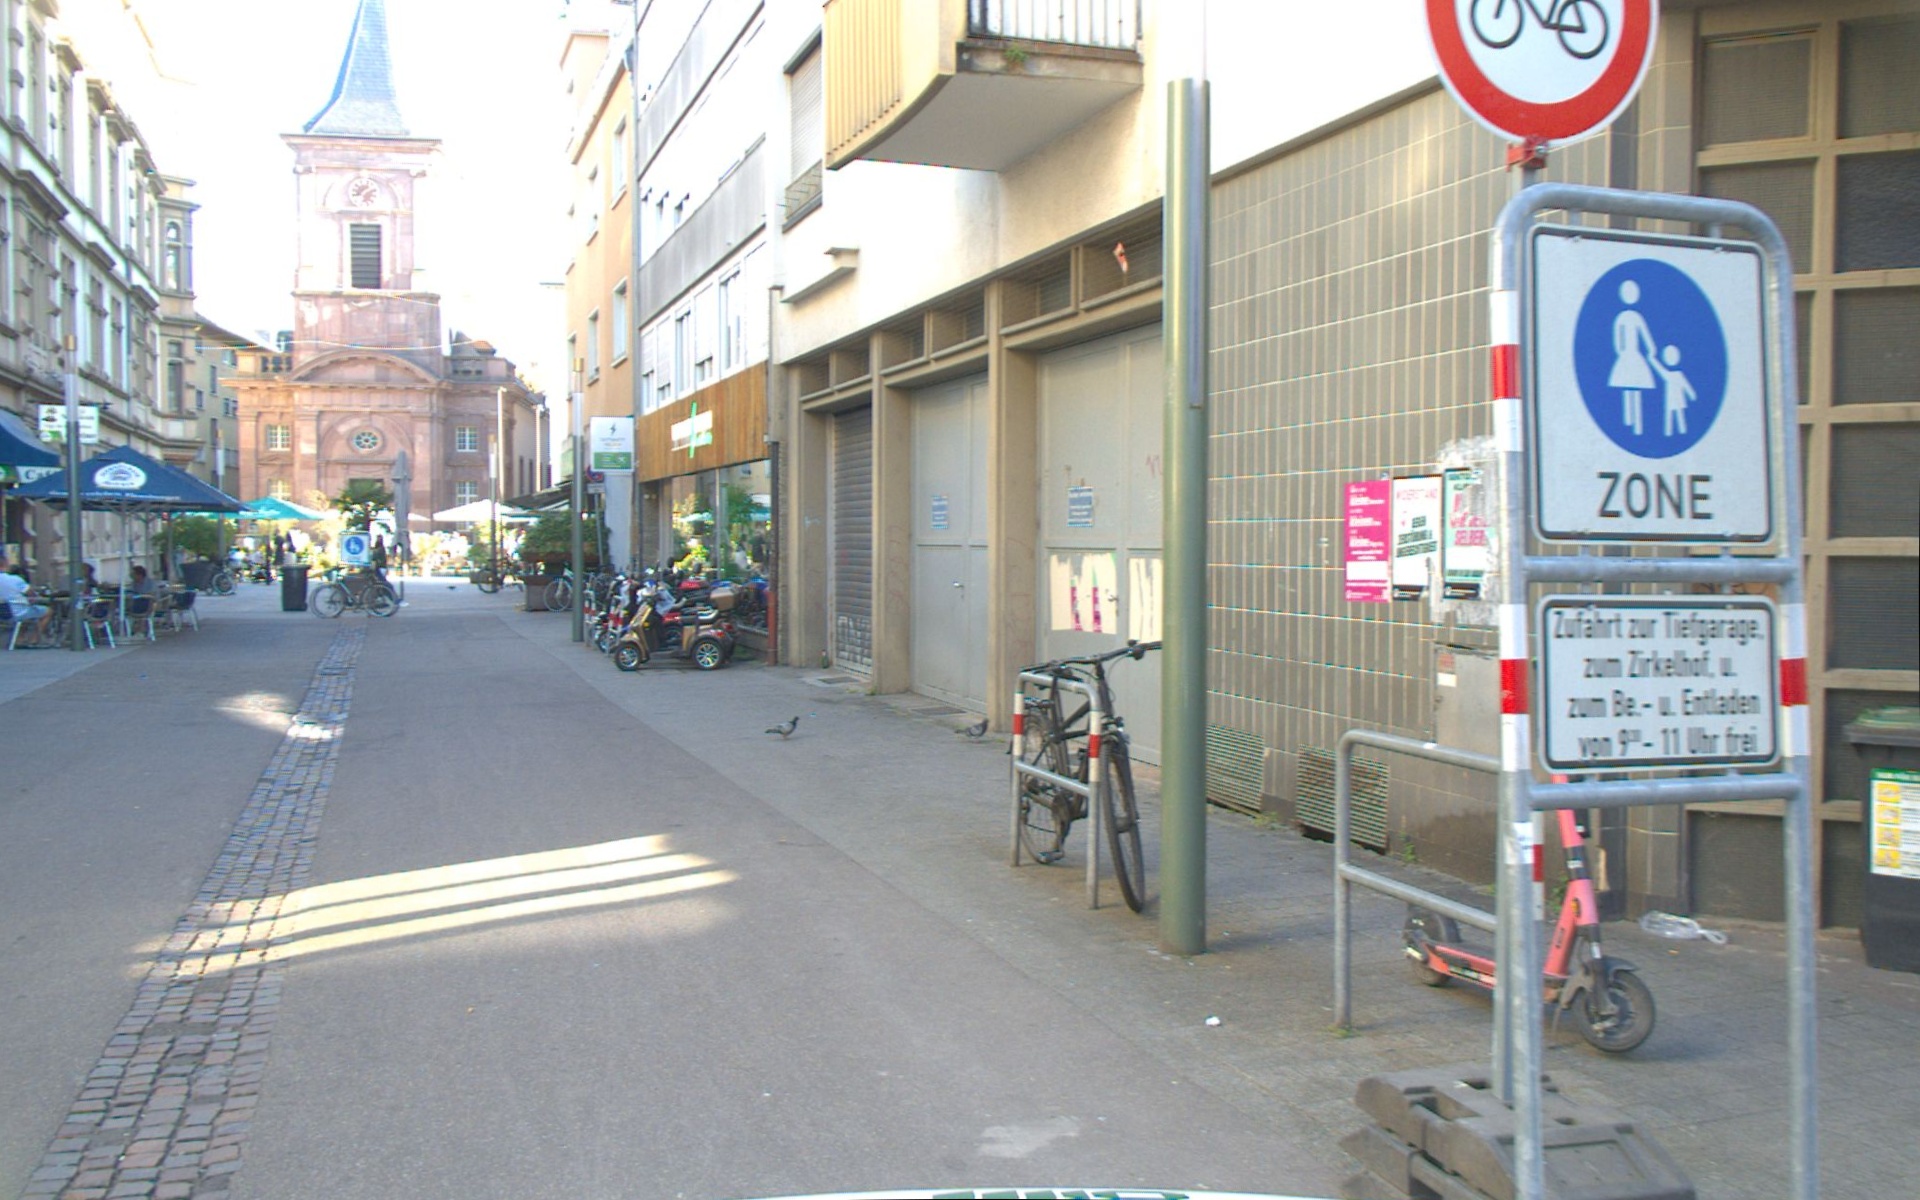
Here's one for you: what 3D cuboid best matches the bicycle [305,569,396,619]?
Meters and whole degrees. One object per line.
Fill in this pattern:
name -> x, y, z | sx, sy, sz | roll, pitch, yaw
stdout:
bicycle -> -13.004, -0.127, 35.276 | 1.799, 1.022, 0.378 | -1, 2, -23

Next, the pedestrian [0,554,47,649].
pedestrian -> -14.193, 0.007, 24.916 | 0.710, 1.392, 0.703 | -1, 2, -32

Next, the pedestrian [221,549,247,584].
pedestrian -> -25.749, -1.185, 58.657 | 0.688, 1.239, 0.717 | -1, 2, -14

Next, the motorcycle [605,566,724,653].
motorcycle -> -4.216, 0.131, 23.675 | 1.592, 1.195, 0.480 | -1, 2, -2

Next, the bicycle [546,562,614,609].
bicycle -> -8.369, -0.326, 36.495 | 1.438, 1.022, 0.571 | -1, 2, -13

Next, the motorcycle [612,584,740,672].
motorcycle -> -3.567, 0.350, 20.809 | 1.532, 1.059, 0.372 | -1, 2, -2

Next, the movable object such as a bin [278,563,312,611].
movable object such as a bin -> -15.259, -0.304, 37.954 | 0.711, 1.093, 0.372 | -1, 2, -21

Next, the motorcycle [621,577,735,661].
motorcycle -> -3.830, 0.256, 22.515 | 1.454, 1.094, 0.412 | -1, 2, -2

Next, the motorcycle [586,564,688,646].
motorcycle -> -4.905, 0.071, 25.152 | 1.454, 1.201, 0.412 | -1, 2, -5

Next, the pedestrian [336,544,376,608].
pedestrian -> -14.421, -0.579, 39.509 | 0.870, 1.489, 0.727 | -1, 2, -19

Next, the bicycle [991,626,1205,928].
bicycle -> 0.576, 0.720, 7.486 | 0.439, 1.159, 1.703 | 0, 1, -14

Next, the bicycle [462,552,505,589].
bicycle -> -17.525, -1.098, 60.877 | 0.359, 1.330, 1.582 | 1, 2, 41

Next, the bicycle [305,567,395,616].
bicycle -> -13.141, -0.183, 35.648 | 1.799, 1.022, 0.378 | -1, 2, -23

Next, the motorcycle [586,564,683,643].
motorcycle -> -5.156, 0.051, 26.236 | 1.454, 1.201, 0.412 | -1, 2, -5

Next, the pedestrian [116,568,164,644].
pedestrian -> -13.730, 0.089, 27.693 | 0.684, 1.236, 0.578 | -1, 2, -28

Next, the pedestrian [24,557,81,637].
pedestrian -> -14.651, -0.065, 26.709 | 0.756, 1.254, 0.824 | -1, 2, -28

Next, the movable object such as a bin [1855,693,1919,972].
movable object such as a bin -> 3.597, 0.838, 6.042 | 0.529, 0.939, 0.513 | 0, 2, 23

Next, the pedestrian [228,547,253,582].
pedestrian -> -26.117, -1.293, 60.035 | 0.688, 1.239, 0.717 | -1, 2, -14

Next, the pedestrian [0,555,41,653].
pedestrian -> -13.793, 0.050, 24.059 | 0.701, 1.392, 0.712 | -1, 2, -32

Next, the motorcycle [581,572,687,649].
motorcycle -> -4.797, 0.155, 24.389 | 1.454, 1.094, 0.412 | -1, 2, -2

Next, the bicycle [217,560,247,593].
bicycle -> -20.163, -0.657, 45.800 | 0.449, 0.864, 2.137 | -1, 2, -16

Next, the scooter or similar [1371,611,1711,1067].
scooter or similar -> 1.840, 0.695, 5.391 | 0.303, 1.274, 1.230 | -1, 1, -23

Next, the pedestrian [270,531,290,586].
pedestrian -> -23.029, -1.402, 56.032 | 0.607, 1.840, 0.611 | -1, 2, -24

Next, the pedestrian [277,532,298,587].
pedestrian -> -22.554, -1.350, 55.473 | 0.607, 1.840, 0.611 | -1, 2, -24

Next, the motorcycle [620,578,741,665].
motorcycle -> -3.641, 0.278, 21.602 | 1.486, 1.094, 0.412 | -1, 2, -2
